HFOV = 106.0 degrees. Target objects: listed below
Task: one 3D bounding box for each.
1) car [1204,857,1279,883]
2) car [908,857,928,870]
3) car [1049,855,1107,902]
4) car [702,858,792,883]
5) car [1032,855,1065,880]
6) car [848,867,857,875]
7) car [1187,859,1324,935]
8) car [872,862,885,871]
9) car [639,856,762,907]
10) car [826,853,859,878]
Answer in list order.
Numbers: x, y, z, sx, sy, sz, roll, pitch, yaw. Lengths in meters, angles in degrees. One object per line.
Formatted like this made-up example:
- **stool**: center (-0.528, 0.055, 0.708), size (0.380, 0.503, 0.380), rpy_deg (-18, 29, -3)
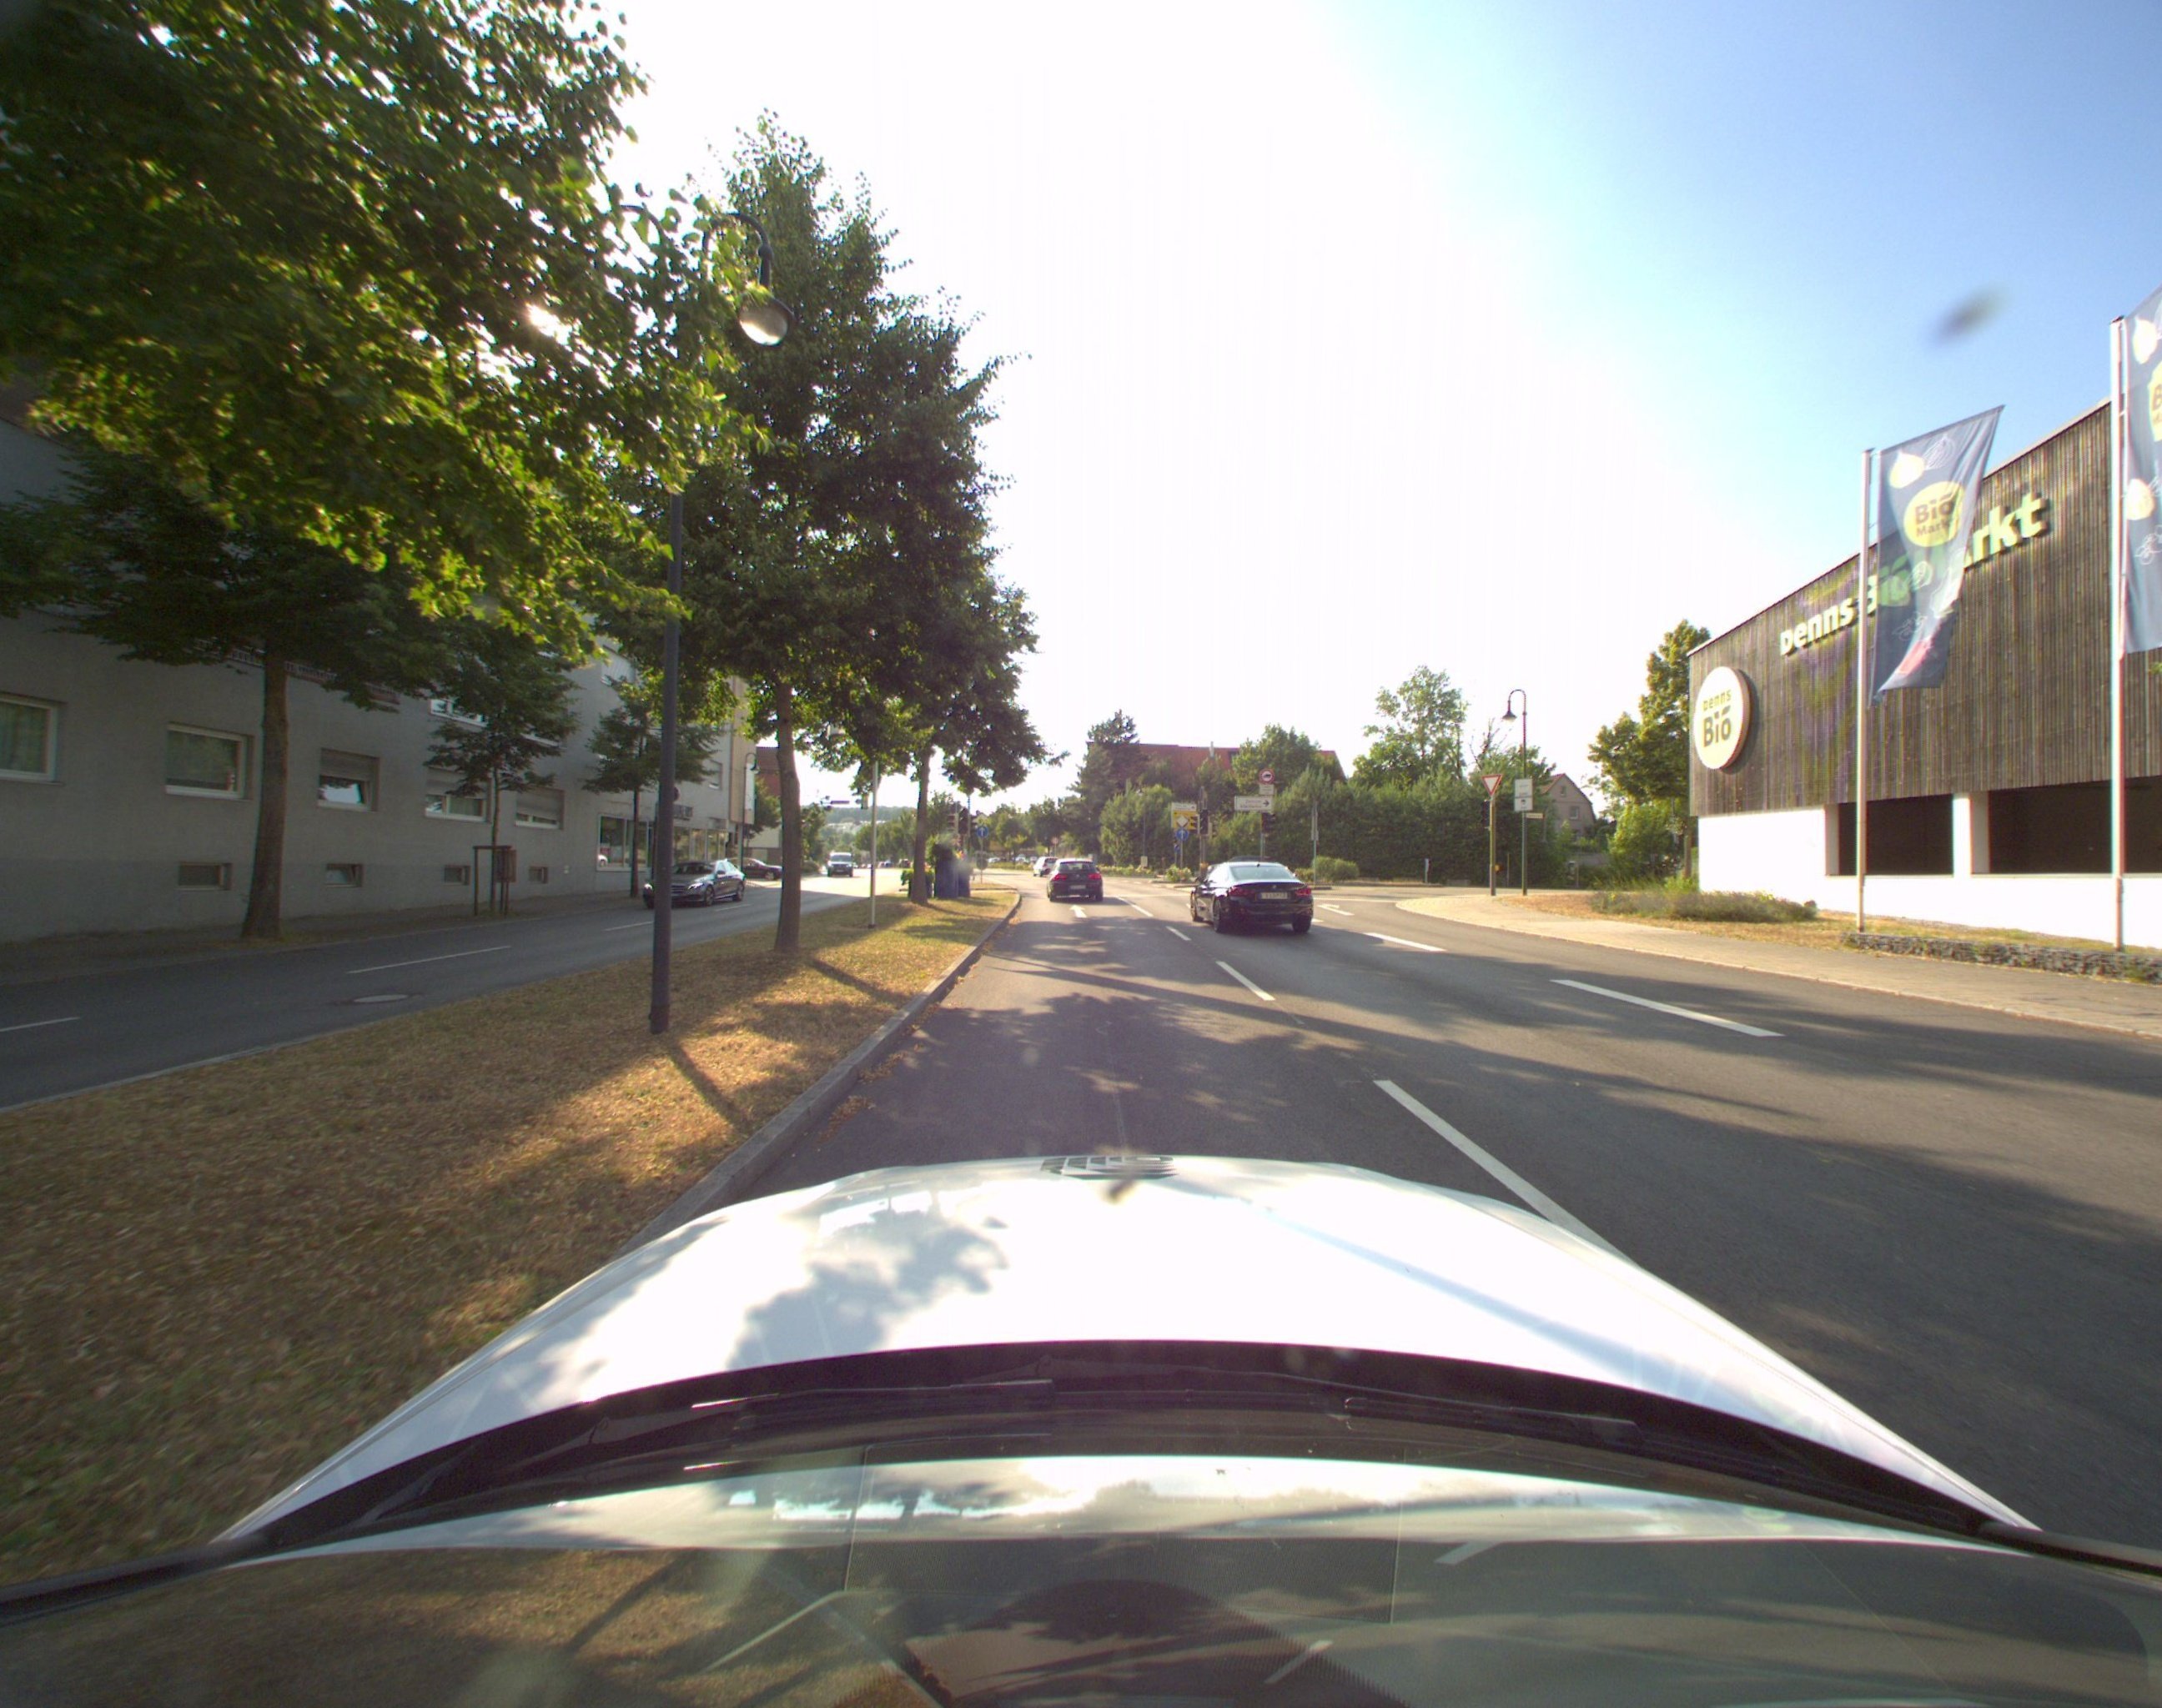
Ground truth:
- **car**: center (9.953, 0.981, 50.600), size (4.216, 1.567, 1.804), rpy_deg (0, 0, 32)
- **car**: center (-23.687, 1.397, 117.972), size (2.224, 1.769, 4.425), rpy_deg (0, -1, -19)
- **car**: center (-0.036, 0.813, 28.456), size (1.713, 1.490, 4.357), rpy_deg (0, -1, 4)
- **car**: center (-20.595, 0.982, 50.401), size (4.862, 1.437, 1.909), rpy_deg (-1, -1, -12)
- **car**: center (-2.447, 0.982, 60.699), size (1.925, 1.769, 4.439), rpy_deg (0, -1, -10)
- **car**: center (-49.096, 3.549, 174.613), size (1.734, 1.679, 3.976), rpy_deg (0, -1, -18)
- **car**: center (3.484, 0.813, 17.093), size (1.915, 1.364, 4.351), rpy_deg (0, -1, -1)
- **car**: center (-41.724, 2.496, 167.524), size (2.224, 1.769, 4.425), rpy_deg (0, -1, -19)
- **car**: center (-12.278, 0.844, 26.708), size (1.848, 1.486, 4.991), rpy_deg (-1, -1, -2)
- **car**: center (-17.968, 0.862, 61.473), size (1.853, 1.736, 4.904), rpy_deg (-1, -1, -10)
